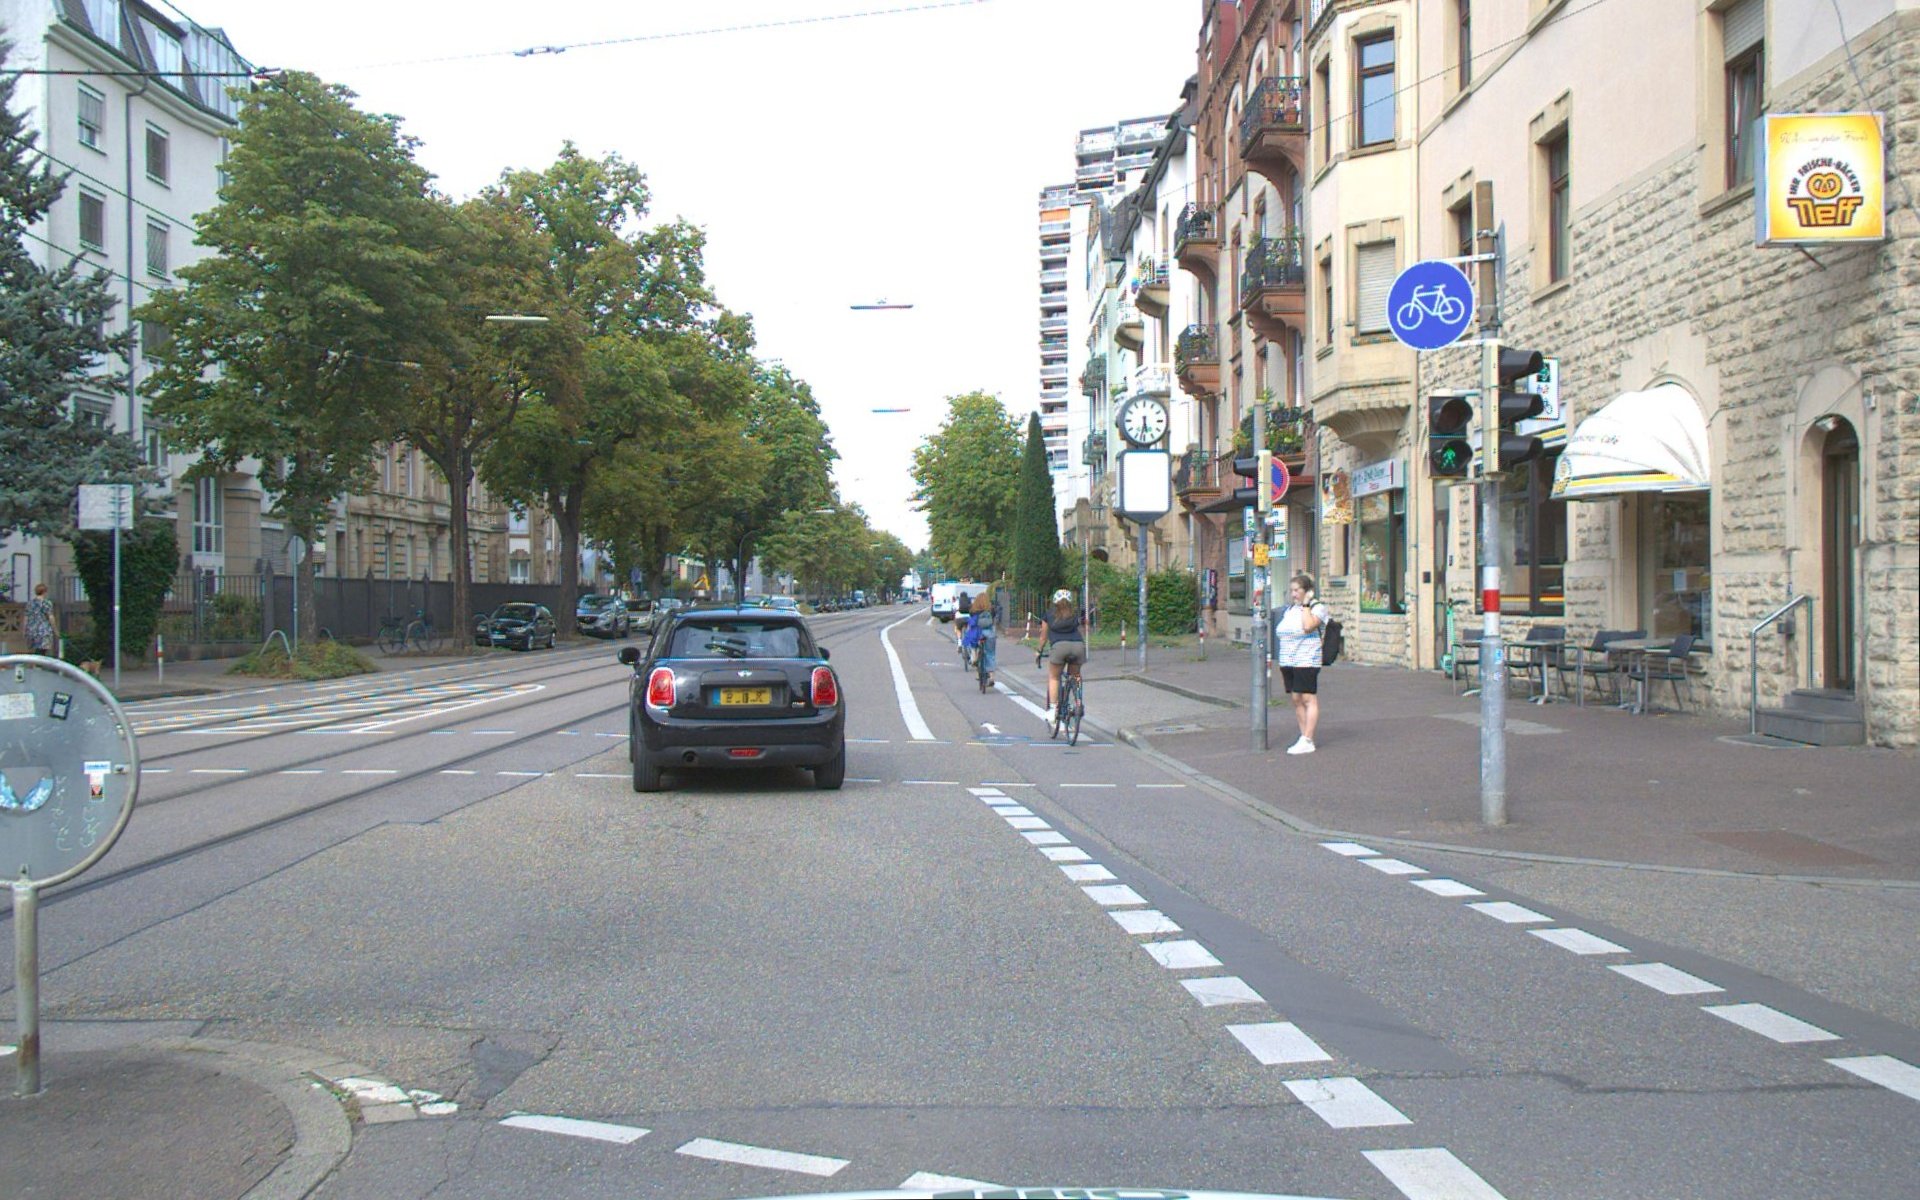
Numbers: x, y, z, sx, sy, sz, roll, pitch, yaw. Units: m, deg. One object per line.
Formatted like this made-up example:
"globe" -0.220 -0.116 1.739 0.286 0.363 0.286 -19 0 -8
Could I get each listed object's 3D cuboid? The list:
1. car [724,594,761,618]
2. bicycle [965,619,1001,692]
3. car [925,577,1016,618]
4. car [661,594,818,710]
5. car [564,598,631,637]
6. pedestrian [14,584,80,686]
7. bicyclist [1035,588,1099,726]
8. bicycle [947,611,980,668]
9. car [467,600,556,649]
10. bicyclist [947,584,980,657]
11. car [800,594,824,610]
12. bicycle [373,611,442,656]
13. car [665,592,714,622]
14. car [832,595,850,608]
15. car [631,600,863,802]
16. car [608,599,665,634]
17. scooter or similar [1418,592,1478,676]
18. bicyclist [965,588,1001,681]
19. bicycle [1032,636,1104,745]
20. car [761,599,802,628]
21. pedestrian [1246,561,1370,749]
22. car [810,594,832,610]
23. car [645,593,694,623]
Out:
"car" -14.882 0.366 113.453 1.953 1.579 4.000 -1 0 0
"bicycle" 0.397 0.947 28.910 0.586 1.190 1.696 -1 0 0
"car" 0.644 -0.156 96.219 4.994 2.312 2.361 -1 0 -41
"car" -3.127 0.690 24.237 1.888 1.536 3.998 -1 0 -2
"car" -13.925 0.644 63.768 1.731 1.420 3.999 -1 0 -1
"pedestrian" -16.660 0.629 30.186 0.715 1.815 0.835 -1 0 0
"bicyclist" 1.193 0.617 18.550 0.602 1.498 0.915 -1 0 -2
"bicycle" 0.084 0.865 36.553 0.670 1.190 1.697 -1 0 2
"car" -13.972 0.742 51.742 1.731 1.420 3.999 -1 0 -1
"bicyclist" 0.078 0.442 36.547 0.670 1.591 0.998 -1 0 2
"car" -14.818 0.195 165.913 1.953 1.579 4.000 -1 0 0
"bicycle" -14.785 0.878 44.266 1.656 1.138 0.565 -1 0 -40
"car" -14.762 0.383 90.484 1.953 1.579 4.000 -1 0 0
"car" -14.794 0.164 206.303 1.953 1.579 4.000 -1 0 0
"car" -1.980 0.750 14.441 1.720 1.466 3.989 -1 0 -11
"car" -13.932 0.709 71.442 1.731 1.420 3.999 -1 0 -1
"scooter or similar" 7.295 0.494 24.758 0.498 1.209 1.261 -1 0 0
"bicyclist" 0.390 0.584 28.808 0.582 1.577 1.014 -1 0 0
"bicycle" 1.195 0.983 18.549 0.602 1.095 1.820 -1 0 -2
"car" -9.383 0.690 87.081 1.731 1.420 3.999 -1 0 -1
"pedestrian" 3.326 0.520 15.822 0.829 1.703 0.721 -4 0 -44
"car" -14.849 0.190 176.380 1.953 1.579 4.000 -1 0 0
"car" -14.382 0.389 82.086 1.731 1.420 3.999 -1 0 -1
